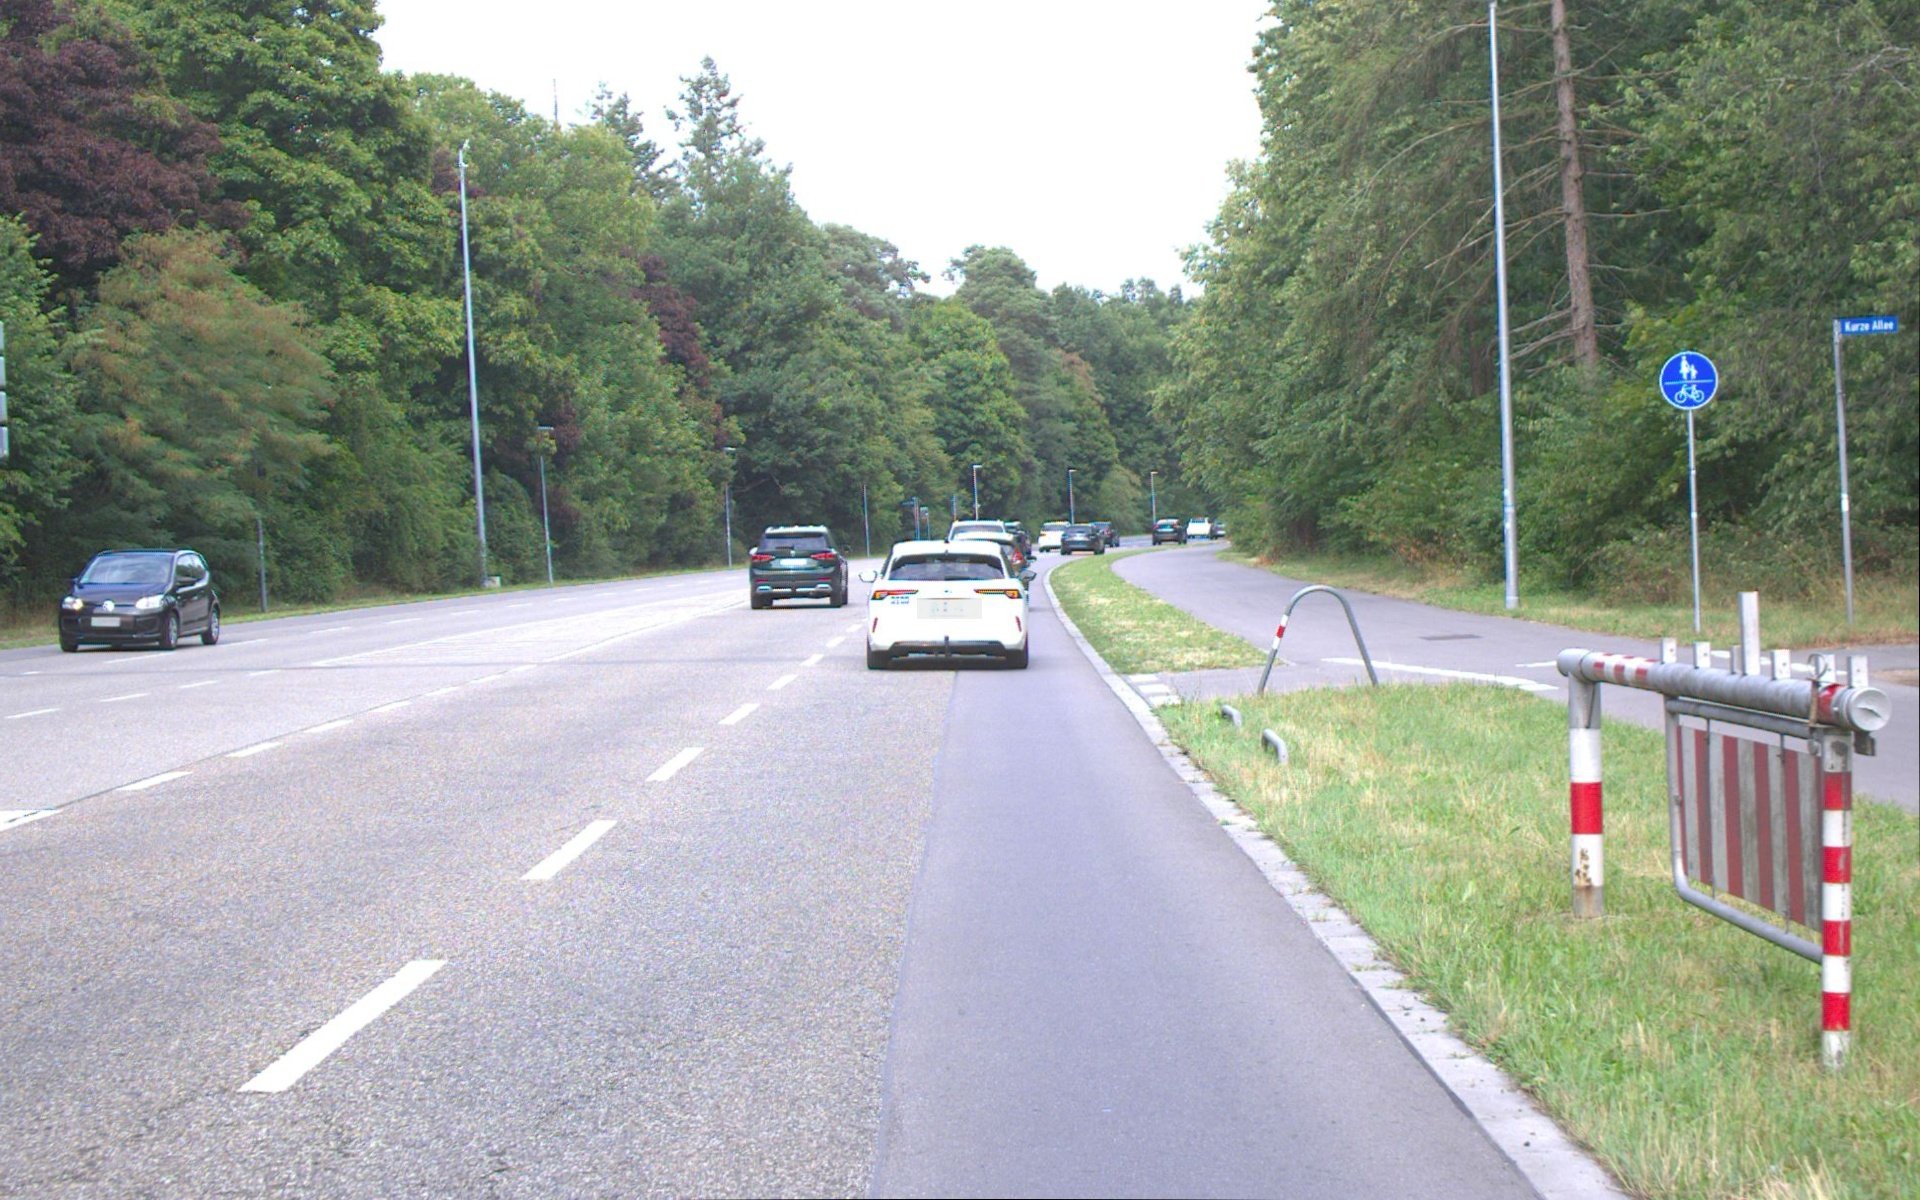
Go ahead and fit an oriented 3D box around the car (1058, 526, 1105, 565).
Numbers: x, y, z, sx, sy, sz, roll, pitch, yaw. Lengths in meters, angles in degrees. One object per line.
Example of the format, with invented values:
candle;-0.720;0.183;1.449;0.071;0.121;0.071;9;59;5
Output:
car;5.764;-2.560;162.602;1.994;1.777;3.999;1;1;5

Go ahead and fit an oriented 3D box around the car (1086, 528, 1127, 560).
car;8.421;-3.201;197.492;1.994;1.777;3.999;1;1;8

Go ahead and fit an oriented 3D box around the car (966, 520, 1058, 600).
car;0.957;-0.744;63.966;1.635;1.415;4.000;1;1;1

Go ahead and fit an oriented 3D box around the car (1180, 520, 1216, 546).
car;17.116;-4.800;246.927;1.889;1.809;3.997;1;1;14

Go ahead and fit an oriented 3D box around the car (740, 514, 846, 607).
car;-3.294;-0.784;68.539;1.993;1.780;4.000;1;1;-1

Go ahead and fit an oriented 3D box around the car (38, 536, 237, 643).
car;-11.978;-0.169;50.322;1.741;1.470;4.000;1;1;3

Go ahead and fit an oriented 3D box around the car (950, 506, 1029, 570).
car;0.776;-1.605;89.863;1.993;1.601;4.000;1;1;0

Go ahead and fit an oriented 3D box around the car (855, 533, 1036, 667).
car;-0.104;-0.024;38.930;1.836;1.405;4.490;1;1;2

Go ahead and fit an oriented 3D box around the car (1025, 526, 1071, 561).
car;4.601;-2.925;179.968;1.994;1.777;3.999;1;1;7

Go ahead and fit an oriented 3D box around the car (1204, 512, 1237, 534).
car;17.835;-5.257;235.293;1.994;1.404;3.999;1;1;8

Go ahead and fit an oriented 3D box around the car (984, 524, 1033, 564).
car;2.260;-2.573;159.052;1.994;1.777;3.999;1;1;5

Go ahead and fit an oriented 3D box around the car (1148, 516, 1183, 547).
car;12.386;-4.094;206.806;1.994;1.777;3.999;1;1;5
